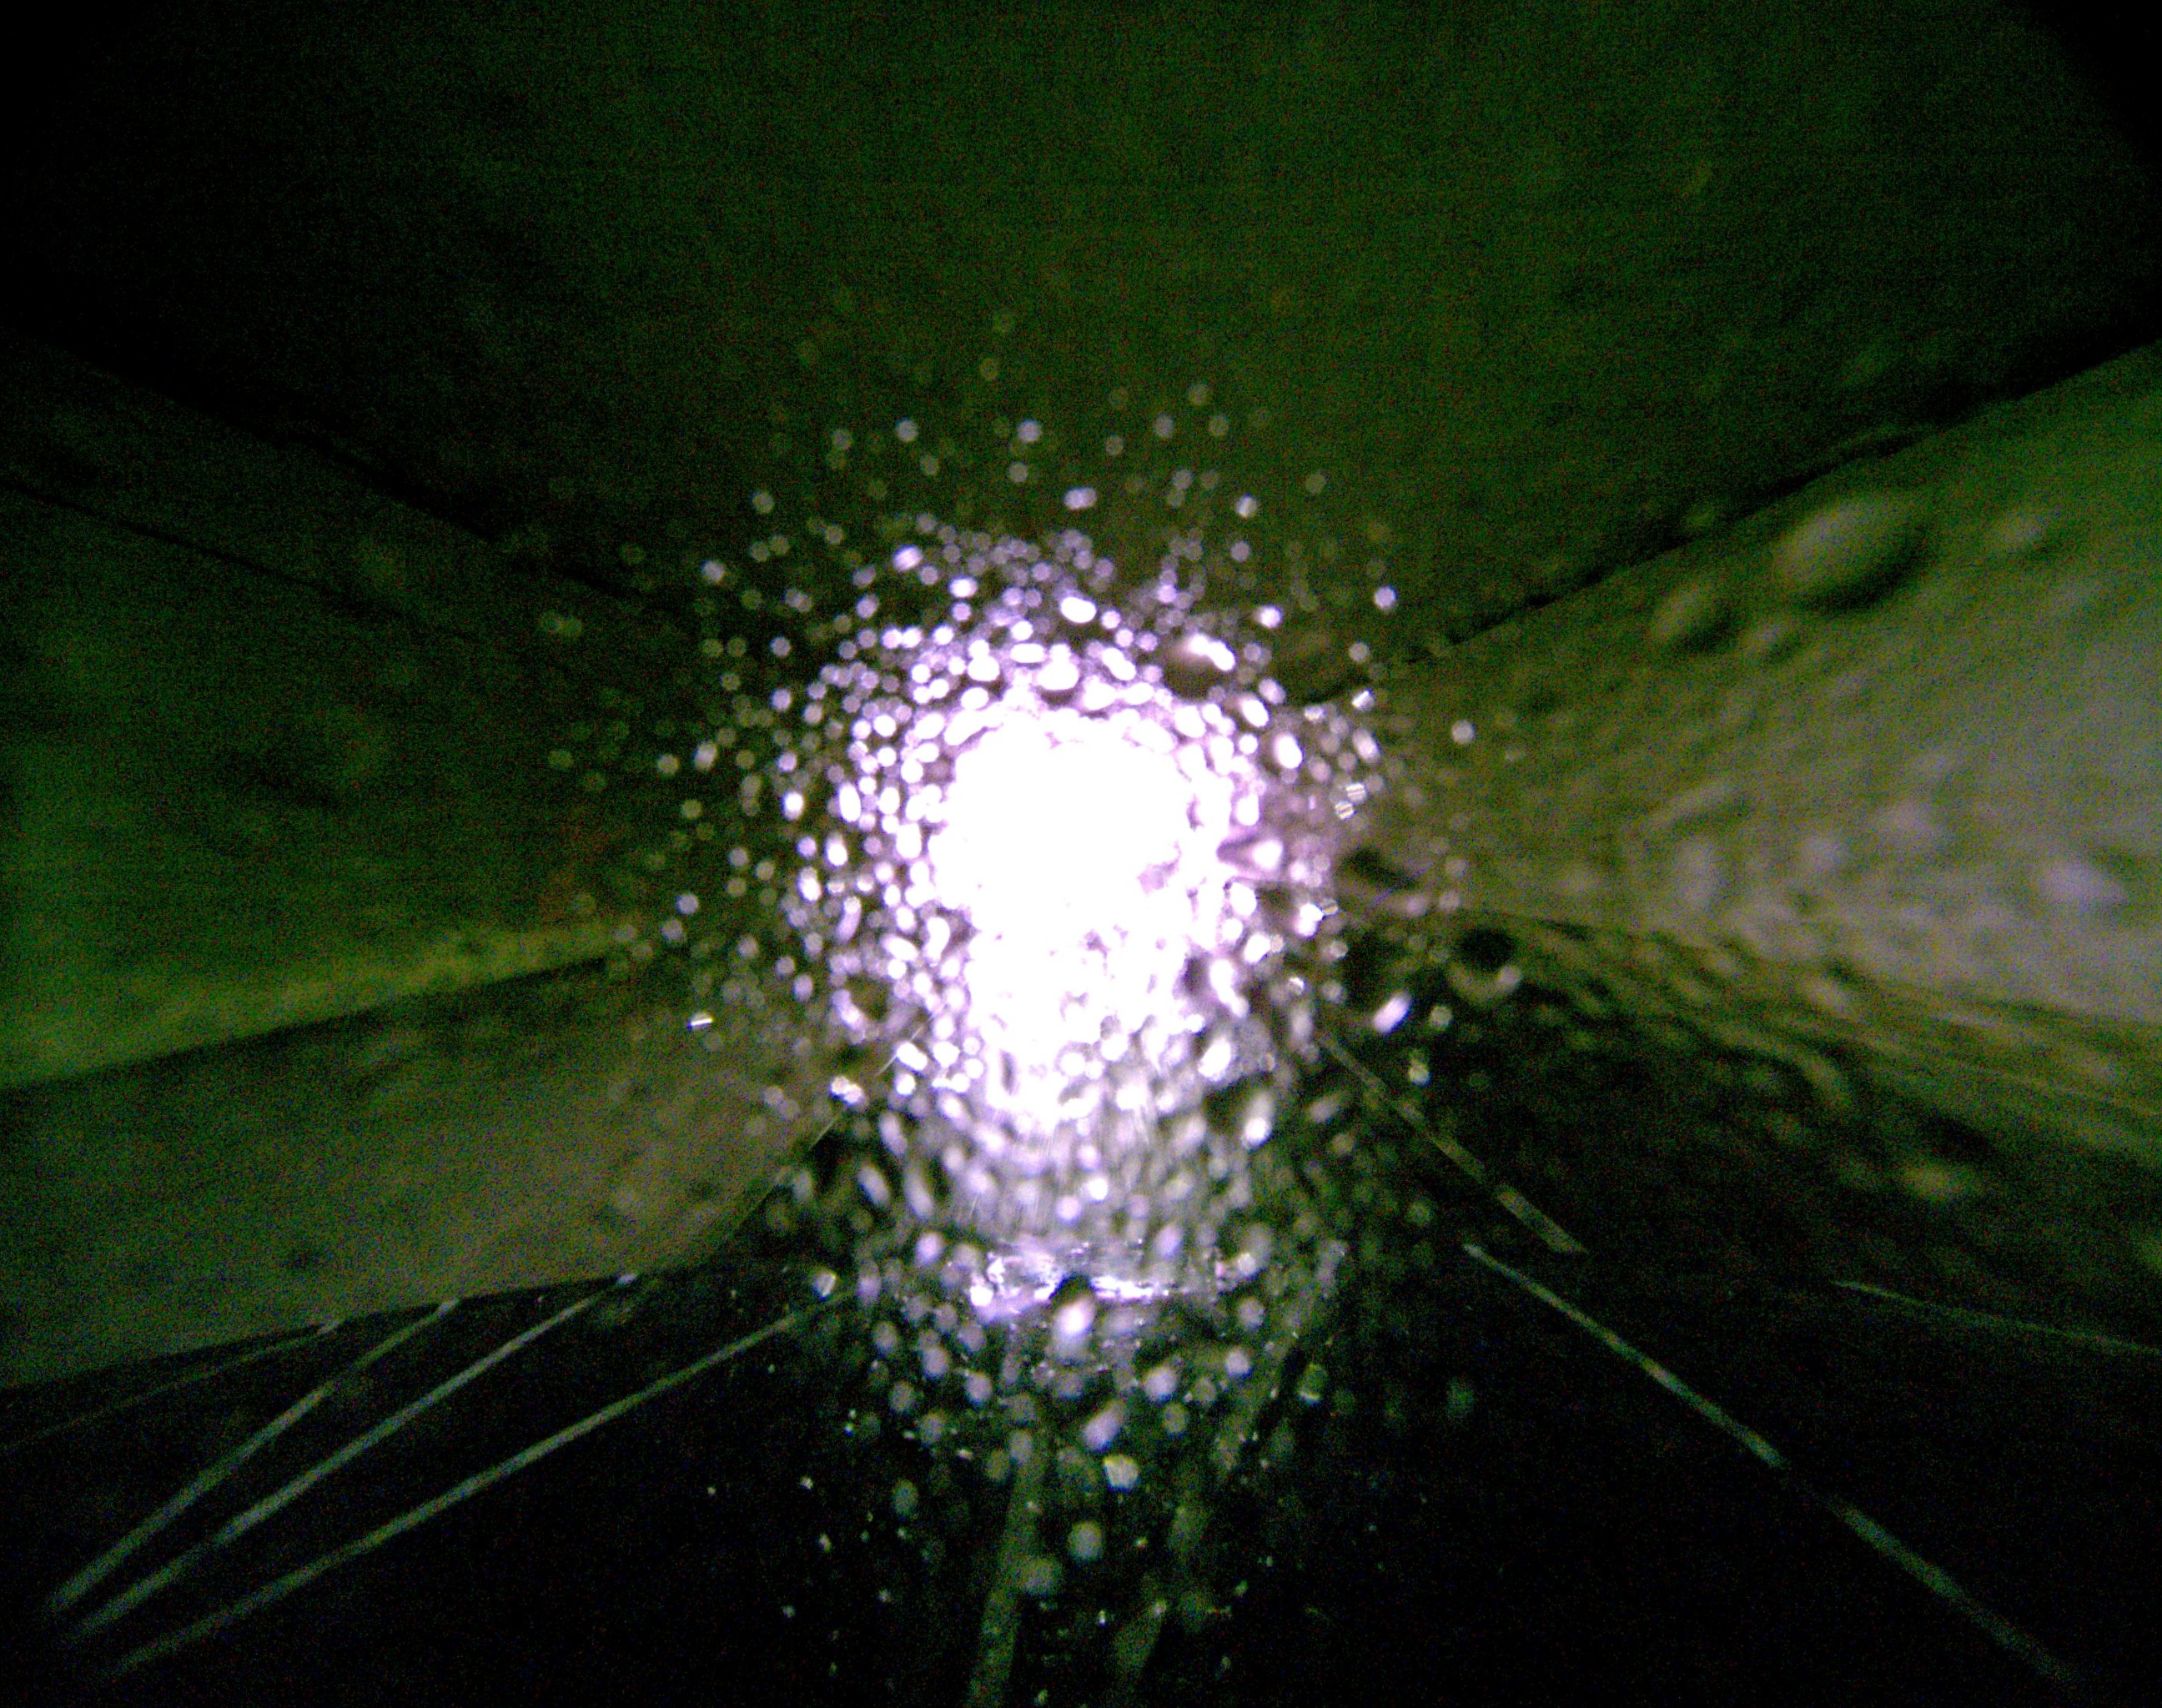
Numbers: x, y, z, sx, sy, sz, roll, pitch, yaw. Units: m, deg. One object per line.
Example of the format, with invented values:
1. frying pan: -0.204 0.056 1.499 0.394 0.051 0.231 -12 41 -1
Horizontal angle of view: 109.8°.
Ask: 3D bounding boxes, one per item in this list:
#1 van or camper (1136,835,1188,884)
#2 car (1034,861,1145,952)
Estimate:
1. van or camper: 3.728 0.195 35.851 1.998 2.086 4.691 -2 1 1
2. car: 0.070 0.876 14.614 1.767 1.316 4.547 -2 1 -2
